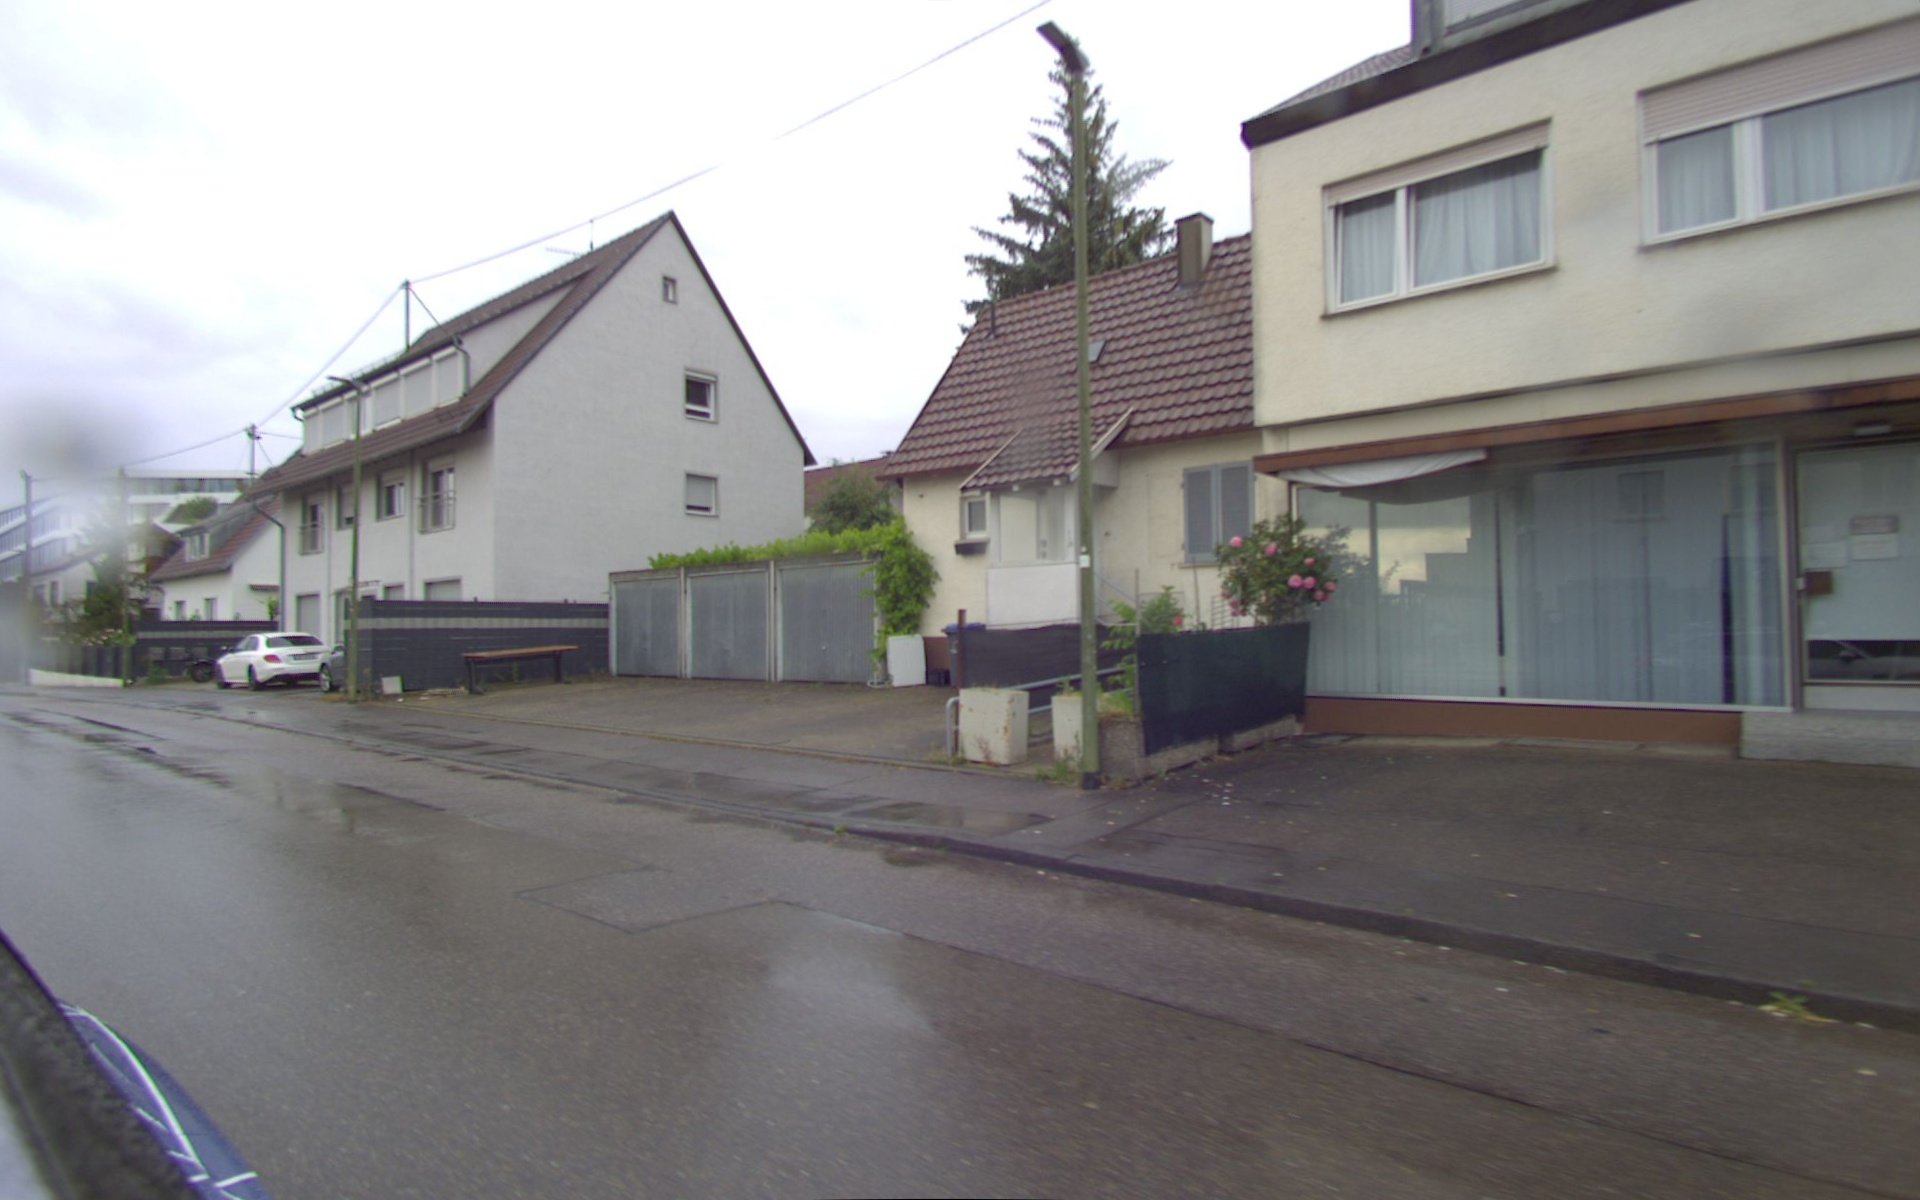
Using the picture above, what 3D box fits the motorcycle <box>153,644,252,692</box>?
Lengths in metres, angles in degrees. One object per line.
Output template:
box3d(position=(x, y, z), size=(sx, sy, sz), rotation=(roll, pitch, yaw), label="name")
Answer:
box3d(position=(-23.694, 2.111, 31.690), size=(0.735, 1.283, 2.338), rotation=(-4, -1, 40), label="motorcycle")

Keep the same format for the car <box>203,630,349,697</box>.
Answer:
box3d(position=(-18.381, 1.701, 27.103), size=(4.892, 1.521, 1.973), rotation=(-4, 0, 40), label="car")

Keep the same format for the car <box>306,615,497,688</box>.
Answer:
box3d(position=(-12.445, 1.163, 22.462), size=(4.557, 1.379, 1.812), rotation=(-4, 0, 34), label="car")
